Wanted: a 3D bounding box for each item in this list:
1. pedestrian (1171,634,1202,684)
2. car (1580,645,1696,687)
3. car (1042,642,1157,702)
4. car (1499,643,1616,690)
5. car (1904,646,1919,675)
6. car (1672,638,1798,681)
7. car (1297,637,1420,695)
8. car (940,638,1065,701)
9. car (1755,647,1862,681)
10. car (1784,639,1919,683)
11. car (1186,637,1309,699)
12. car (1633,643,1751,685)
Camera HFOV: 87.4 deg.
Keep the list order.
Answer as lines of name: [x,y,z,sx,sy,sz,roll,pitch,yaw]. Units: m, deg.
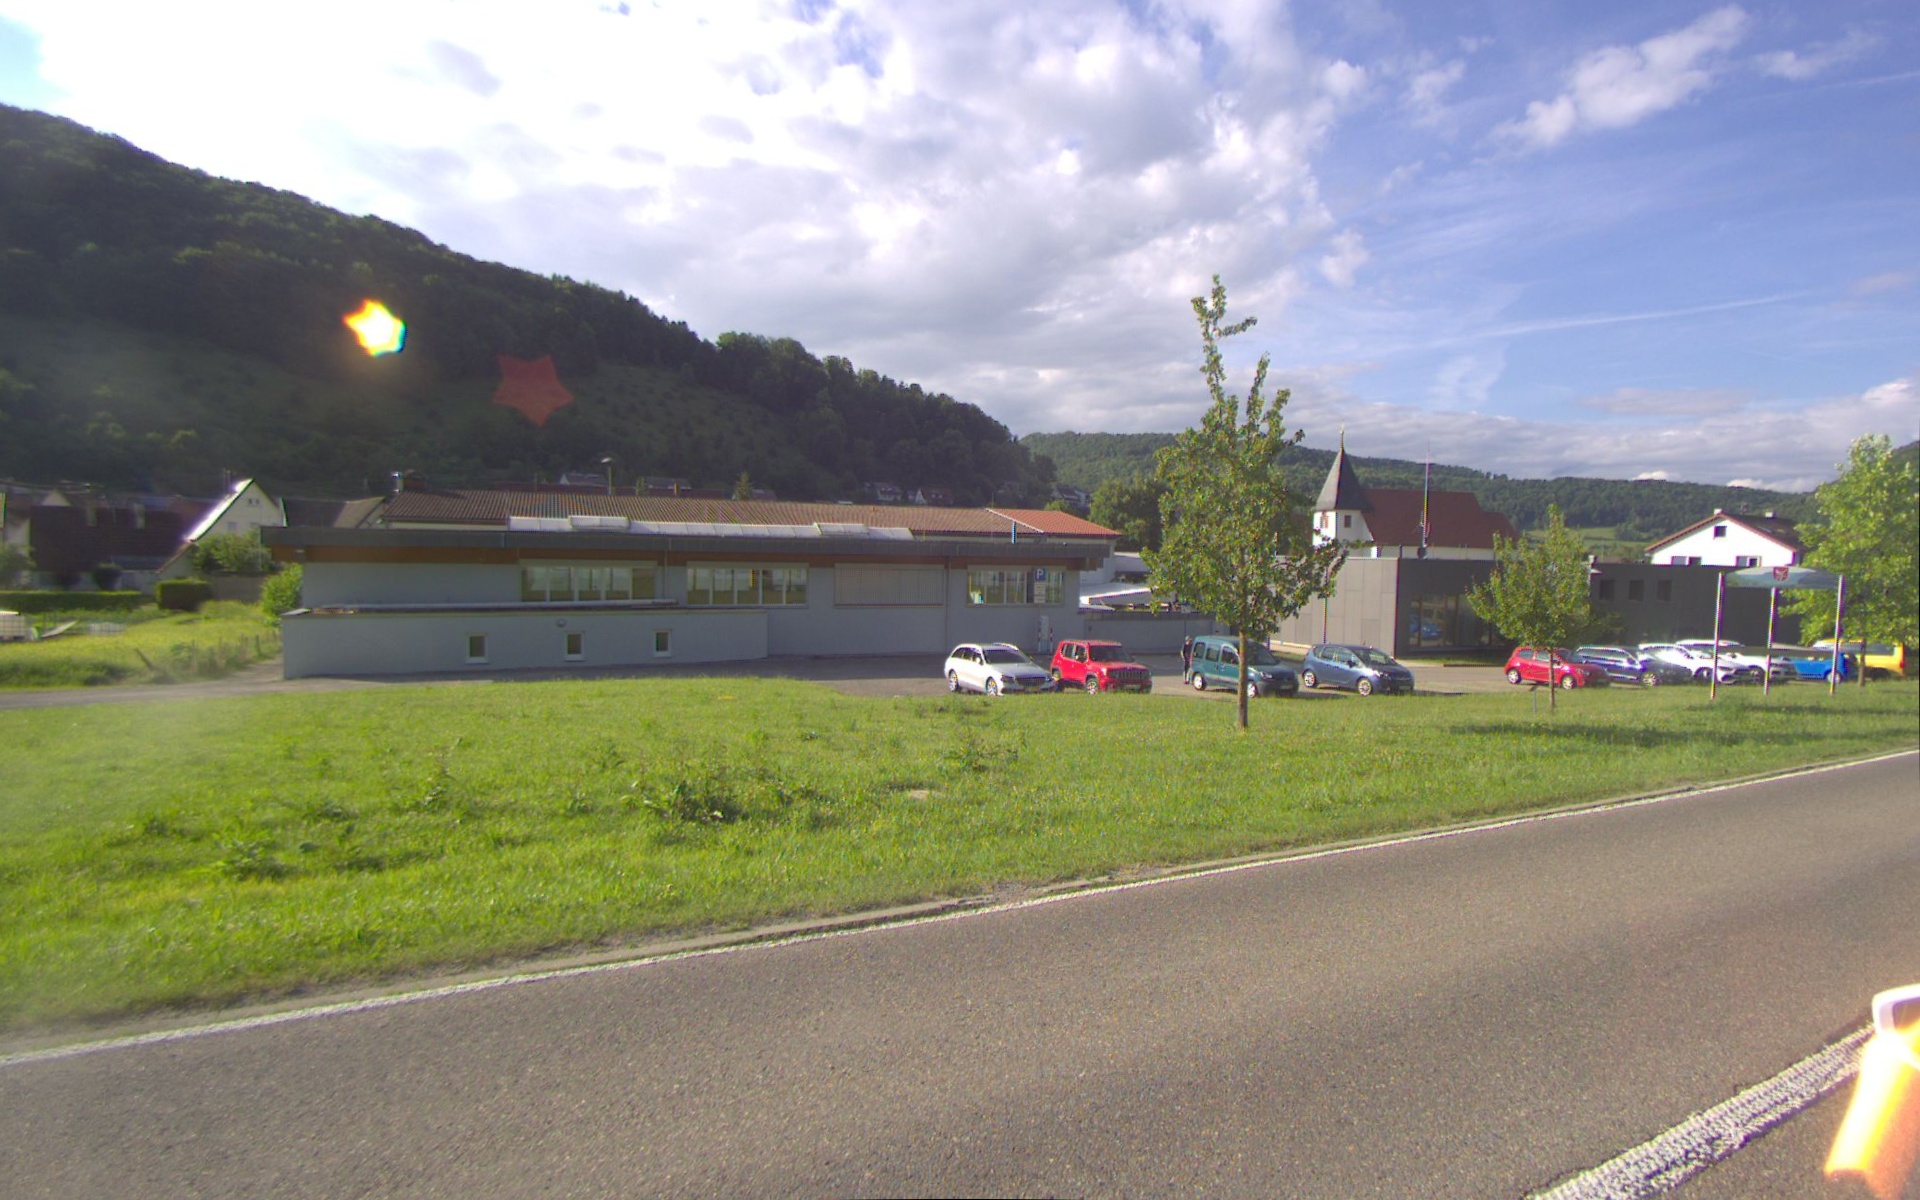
pedestrian: [8.048,2.098,35.673,0.696,1.716,0.791,2,1,-26]
car: [27.069,2.598,40.210,1.573,1.424,3.618,-1,0,-21]
car: [4.137,2.118,30.361,1.730,1.600,3.912,1,-1,-22]
car: [22.598,2.491,38.127,1.624,1.463,3.618,0,1,-21]
car: [49.769,3.040,50.067,1.487,1.458,3.706,1,-2,-21]
car: [33.024,2.501,42.932,1.573,1.695,4.070,1,-2,-21]
car: [13.431,2.183,34.072,1.707,1.744,3.810,1,-1,-22]
car: [1.142,1.995,29.892,1.971,1.610,4.631,1,-1,-22]
car: [38.312,2.862,45.420,1.640,1.391,3.355,2,-2,-29]
car: [40.849,2.738,45.983,1.814,1.838,4.546,1,-2,-21]
car: [9.205,2.138,32.479,1.732,1.745,3.851,2,0,-24]
car: [30.045,2.584,41.334,1.573,1.513,3.660,0,-1,-21]
